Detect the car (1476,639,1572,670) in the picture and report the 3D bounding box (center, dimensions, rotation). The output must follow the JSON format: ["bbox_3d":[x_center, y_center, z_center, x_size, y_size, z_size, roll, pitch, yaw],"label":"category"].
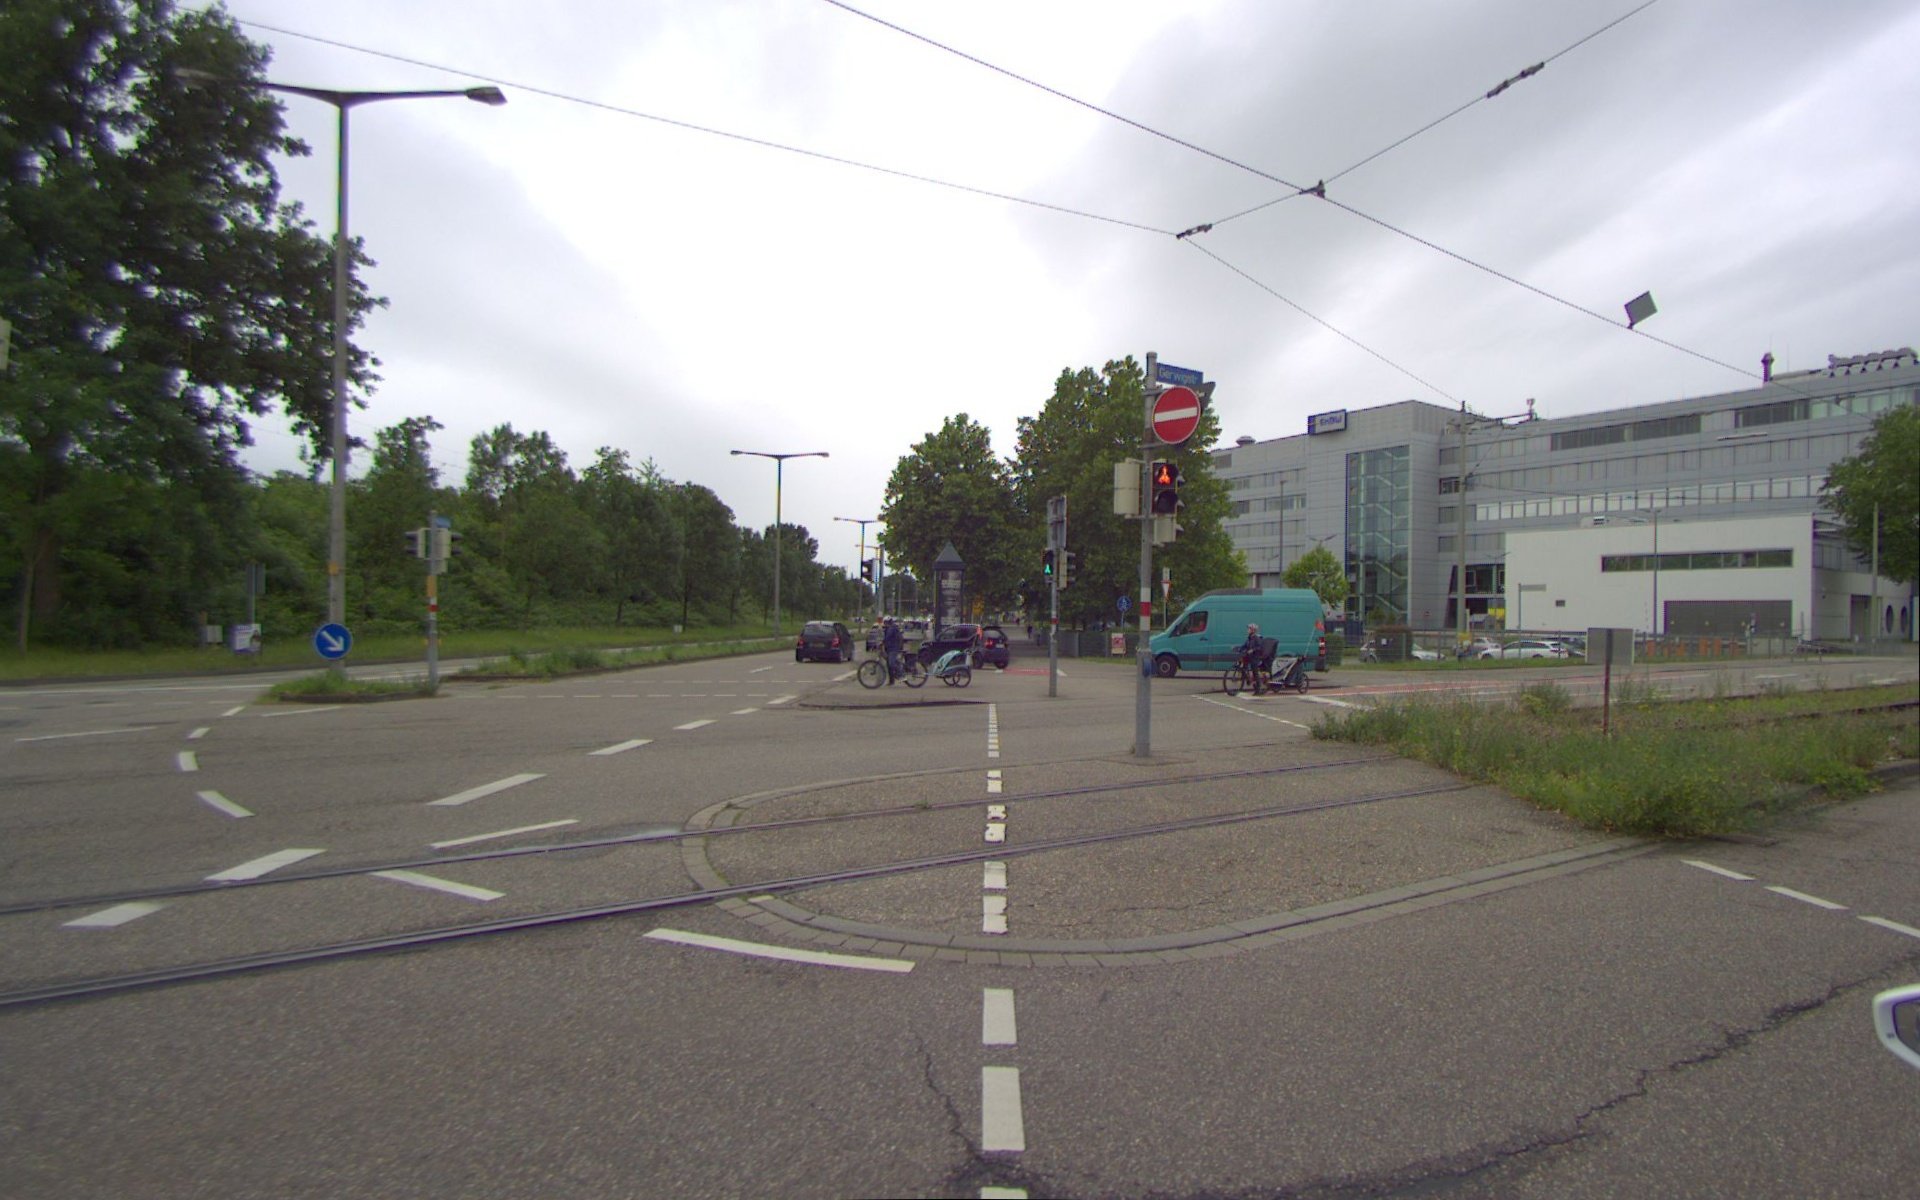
[{"bbox_3d":[32.747,3.134,58.424,1.894,1.655,4.496,2,-2,-36],"label":"car"}]

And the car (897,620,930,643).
[{"bbox_3d":[-3.631,2.456,79.469,1.929,1.548,5.012,1,0,4],"label":"car"}]

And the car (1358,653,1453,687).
[{"bbox_3d":[23.036,3.602,52.022,1.891,1.552,4.189,1,-2,-31],"label":"car"}]

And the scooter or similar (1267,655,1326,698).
[{"bbox_3d":[8.118,1.839,24.200,1.188,0.919,0.837,1,1,-40],"label":"scooter or similar"}]

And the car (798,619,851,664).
[{"bbox_3d":[-5.198,1.560,38.903,1.740,1.548,3.667,1,0,-4],"label":"car"}]

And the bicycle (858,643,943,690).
[{"bbox_3d":[-1.444,1.608,24.294,1.967,1.076,0.645,1,1,-15],"label":"bicycle"}]

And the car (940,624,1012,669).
[{"bbox_3d":[0.536,1.702,37.124,1.744,1.548,3.659,1,-1,-14],"label":"car"}]

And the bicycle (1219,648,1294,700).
[{"bbox_3d":[6.826,1.675,23.107,2.007,1.076,0.640,1,1,-40],"label":"bicycle"}]

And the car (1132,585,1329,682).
[{"bbox_3d":[8.471,1.032,32.045,5.828,2.863,2.338,1,-1,10],"label":"car"}]

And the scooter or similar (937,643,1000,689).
[{"bbox_3d":[0.199,1.627,24.730,1.425,1.076,0.645,1,1,-15],"label":"scooter or similar"}]

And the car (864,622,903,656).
[{"bbox_3d":[-4.165,2.087,55.162,1.743,1.674,3.670,1,0,1],"label":"car"}]

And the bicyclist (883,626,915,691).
[{"bbox_3d":[-1.477,1.406,24.277,0.616,1.539,0.645,1,1,-15],"label":"bicyclist"}]

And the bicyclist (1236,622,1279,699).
[{"bbox_3d":[6.839,1.374,23.103,0.680,1.706,0.640,1,1,-40],"label":"bicyclist"}]
